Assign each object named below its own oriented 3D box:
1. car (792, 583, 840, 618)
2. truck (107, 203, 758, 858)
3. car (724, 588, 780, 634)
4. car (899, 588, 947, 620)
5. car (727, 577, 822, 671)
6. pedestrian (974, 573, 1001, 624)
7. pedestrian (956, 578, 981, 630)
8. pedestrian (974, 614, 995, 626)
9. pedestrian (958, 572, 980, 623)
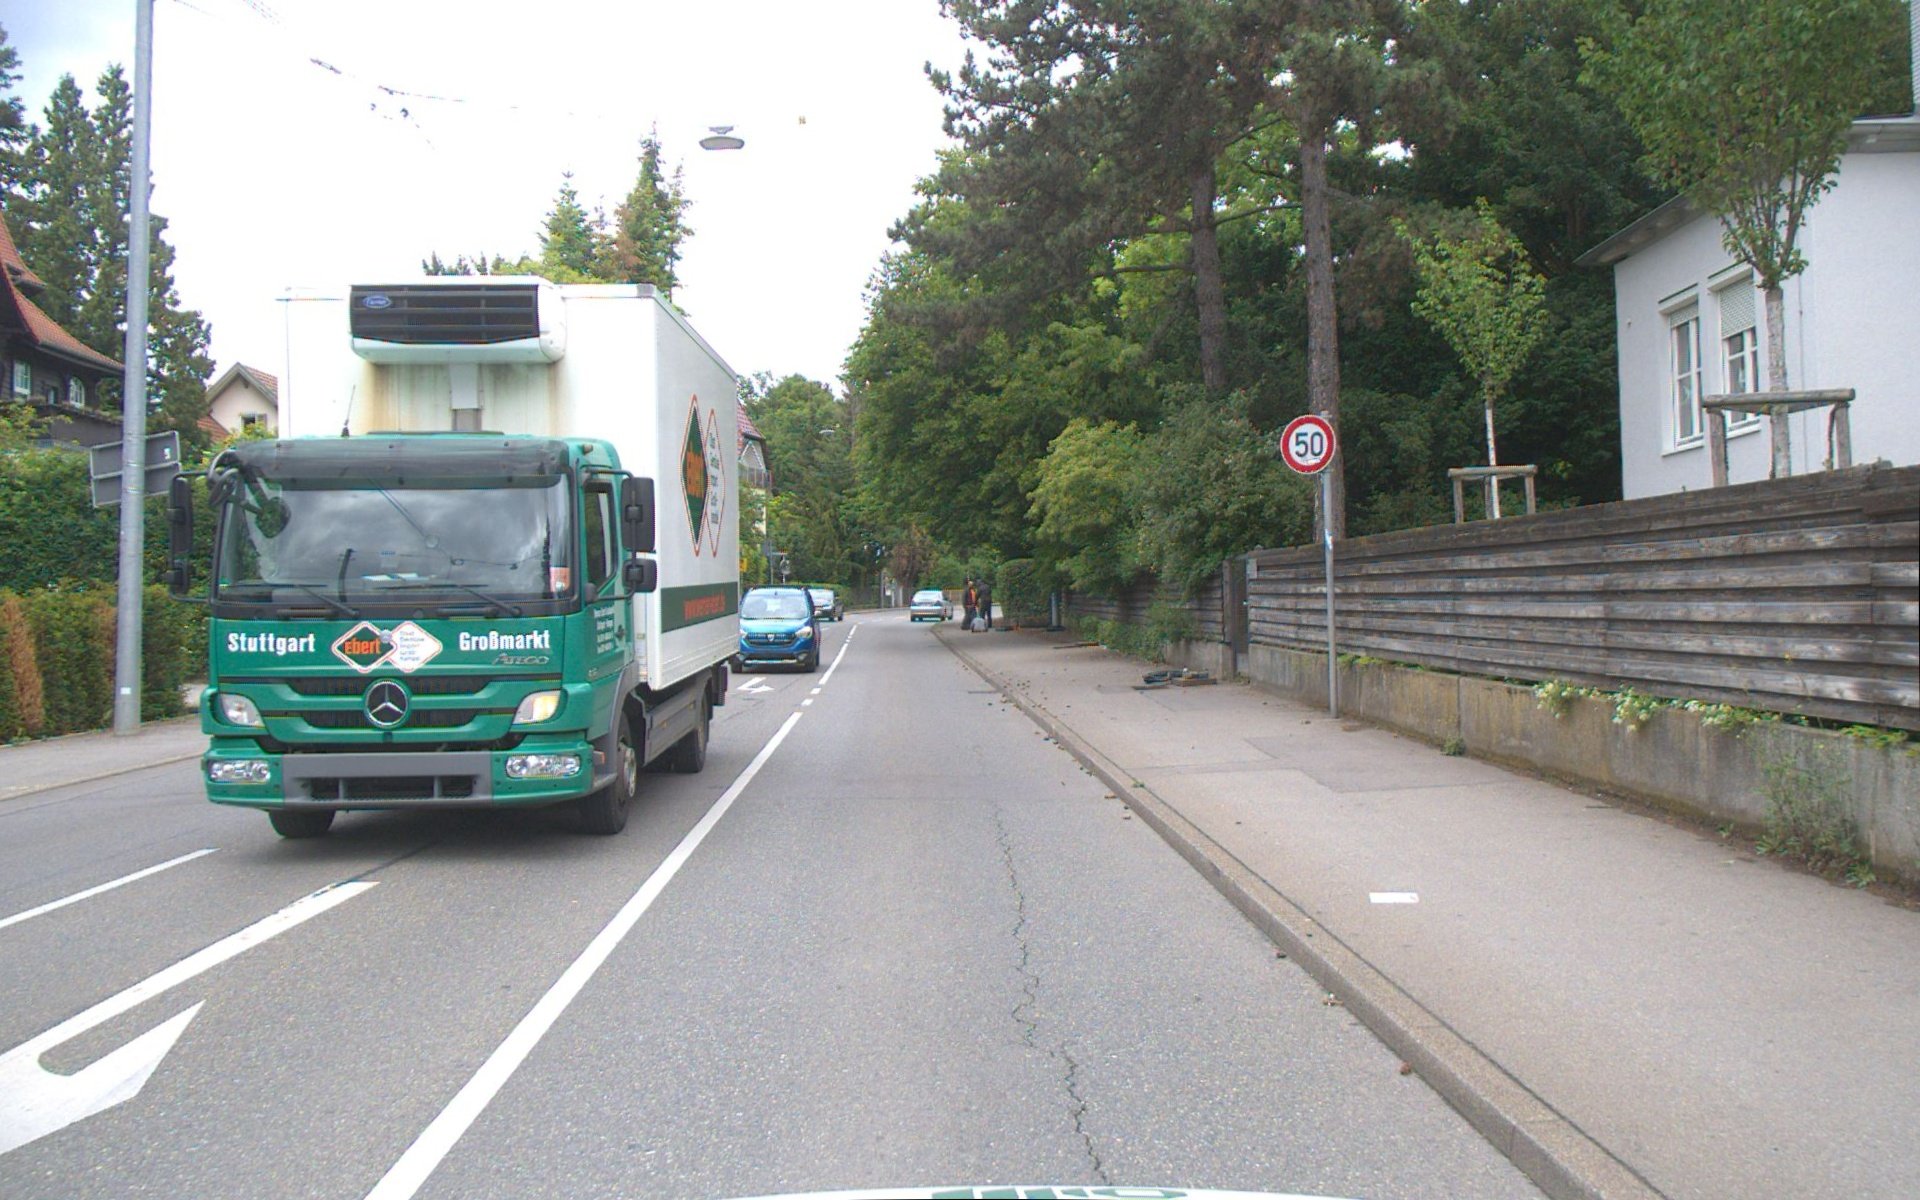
[{"bbox_3d":[-6.508,0.017,75.012,1.646,1.497,4.019,-1,0,2],"label":"car"},{"bbox_3d":[-3.325,-0.333,12.746,2.721,3.522,7.491,-1,-1,-1],"label":"truck"},{"bbox_3d":[-7.328,0.373,58.541,1.651,1.545,3.534,-1,0,-3],"label":"car"},{"bbox_3d":[-1.728,0.220,79.210,1.759,1.440,4.338,0,-1,6],"label":"car"},{"bbox_3d":[-3.851,0.474,34.325,1.771,1.747,4.372,-2,0,-7],"label":"car"},{"bbox_3d":[1.001,-0.052,60.192,0.685,1.838,0.662,-1,0,-44],"label":"pedestrian"},{"bbox_3d":[0.301,0.135,58.714,0.791,1.838,0.740,-1,0,-3],"label":"pedestrian"},{"bbox_3d":[0.852,0.682,56.803,0.659,0.400,0.740,-1,0,-3],"label":"pedestrian"},{"bbox_3d":[0.328,-0.091,59.913,0.590,1.839,0.516,-1,0,38],"label":"pedestrian"}]
